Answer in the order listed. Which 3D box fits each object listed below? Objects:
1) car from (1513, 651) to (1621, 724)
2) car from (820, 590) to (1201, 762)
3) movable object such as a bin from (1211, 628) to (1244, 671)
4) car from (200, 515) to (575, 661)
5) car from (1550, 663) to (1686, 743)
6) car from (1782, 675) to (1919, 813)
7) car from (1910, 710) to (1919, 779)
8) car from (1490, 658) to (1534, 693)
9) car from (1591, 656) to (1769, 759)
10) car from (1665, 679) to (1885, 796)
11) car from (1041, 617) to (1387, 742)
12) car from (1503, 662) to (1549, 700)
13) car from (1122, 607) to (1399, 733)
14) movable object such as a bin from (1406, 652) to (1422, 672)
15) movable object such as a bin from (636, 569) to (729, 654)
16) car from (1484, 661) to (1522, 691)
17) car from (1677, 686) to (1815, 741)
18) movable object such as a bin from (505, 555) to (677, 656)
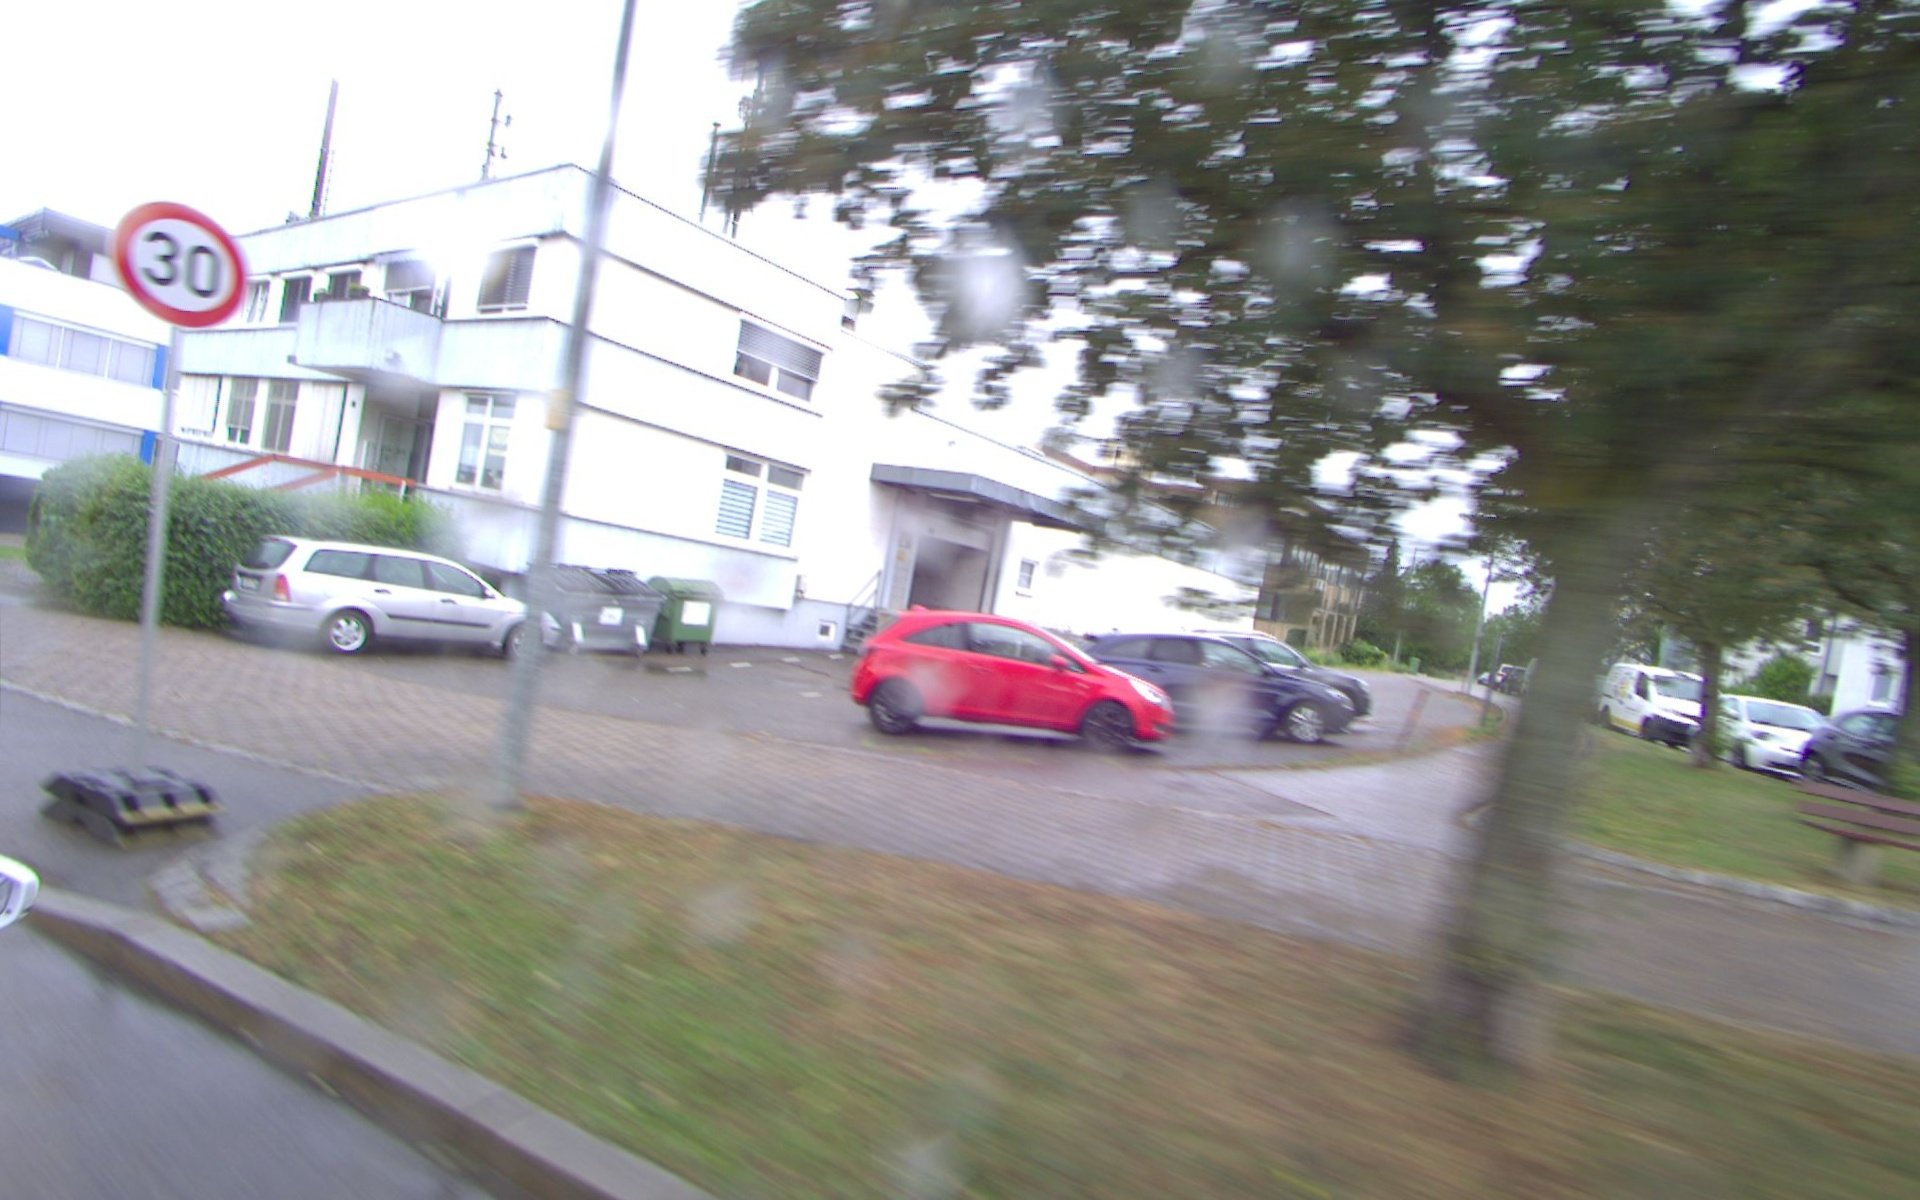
[{"bbox_3d":[20.143,2.862,33.604,1.919,1.993,4.160,9,0,18],"label":"car"},{"bbox_3d":[0.604,0.882,12.438,4.244,1.604,1.859,5,0,2],"label":"car"},{"bbox_3d":[11.309,2.112,42.535,0.535,1.683,1.738,7,0,38],"label":"movable object such as a bin"},{"bbox_3d":[-8.175,-0.086,14.775,1.829,1.603,4.315,7,-1,34],"label":"car"},{"bbox_3d":[18.349,2.800,28.289,1.919,1.753,4.022,9,0,17],"label":"car"},{"bbox_3d":[14.016,2.148,14.256,1.919,1.753,4.022,9,0,14],"label":"car"},{"bbox_3d":[27.196,3.945,25.441,3.925,2.039,1.999,8,1,17],"label":"car"},{"bbox_3d":[33.693,4.587,61.540,1.870,1.763,3.996,8,1,25],"label":"car"},{"bbox_3d":[17.116,2.465,24.214,1.895,1.952,4.425,9,0,17],"label":"car"},{"bbox_3d":[15.607,2.555,19.542,1.800,1.688,3.833,7,-1,16],"label":"car"},{"bbox_3d":[3.735,1.167,15.354,4.741,1.605,1.858,2,0,-2],"label":"car"},{"bbox_3d":[31.354,4.457,55.808,1.898,1.721,3.994,8,1,28],"label":"car"},{"bbox_3d":[5.392,1.264,18.407,4.378,1.819,1.859,5,-2,-4],"label":"car"},{"bbox_3d":[29.724,4.056,65.851,0.642,1.220,0.927,7,0,15],"label":"movable object such as a bin"},{"bbox_3d":[-5.512,0.245,20.018,1.013,1.515,1.304,8,2,38],"label":"movable object such as a bin"},{"bbox_3d":[40.579,5.686,75.140,2.158,1.898,3.993,8,0,31],"label":"car"},{"bbox_3d":[31.930,4.599,41.004,3.870,1.513,1.829,7,1,16],"label":"car"},{"bbox_3d":[-6.661,0.121,18.243,1.707,1.523,2.265,8,1,38],"label":"movable object such as a bin"}]
